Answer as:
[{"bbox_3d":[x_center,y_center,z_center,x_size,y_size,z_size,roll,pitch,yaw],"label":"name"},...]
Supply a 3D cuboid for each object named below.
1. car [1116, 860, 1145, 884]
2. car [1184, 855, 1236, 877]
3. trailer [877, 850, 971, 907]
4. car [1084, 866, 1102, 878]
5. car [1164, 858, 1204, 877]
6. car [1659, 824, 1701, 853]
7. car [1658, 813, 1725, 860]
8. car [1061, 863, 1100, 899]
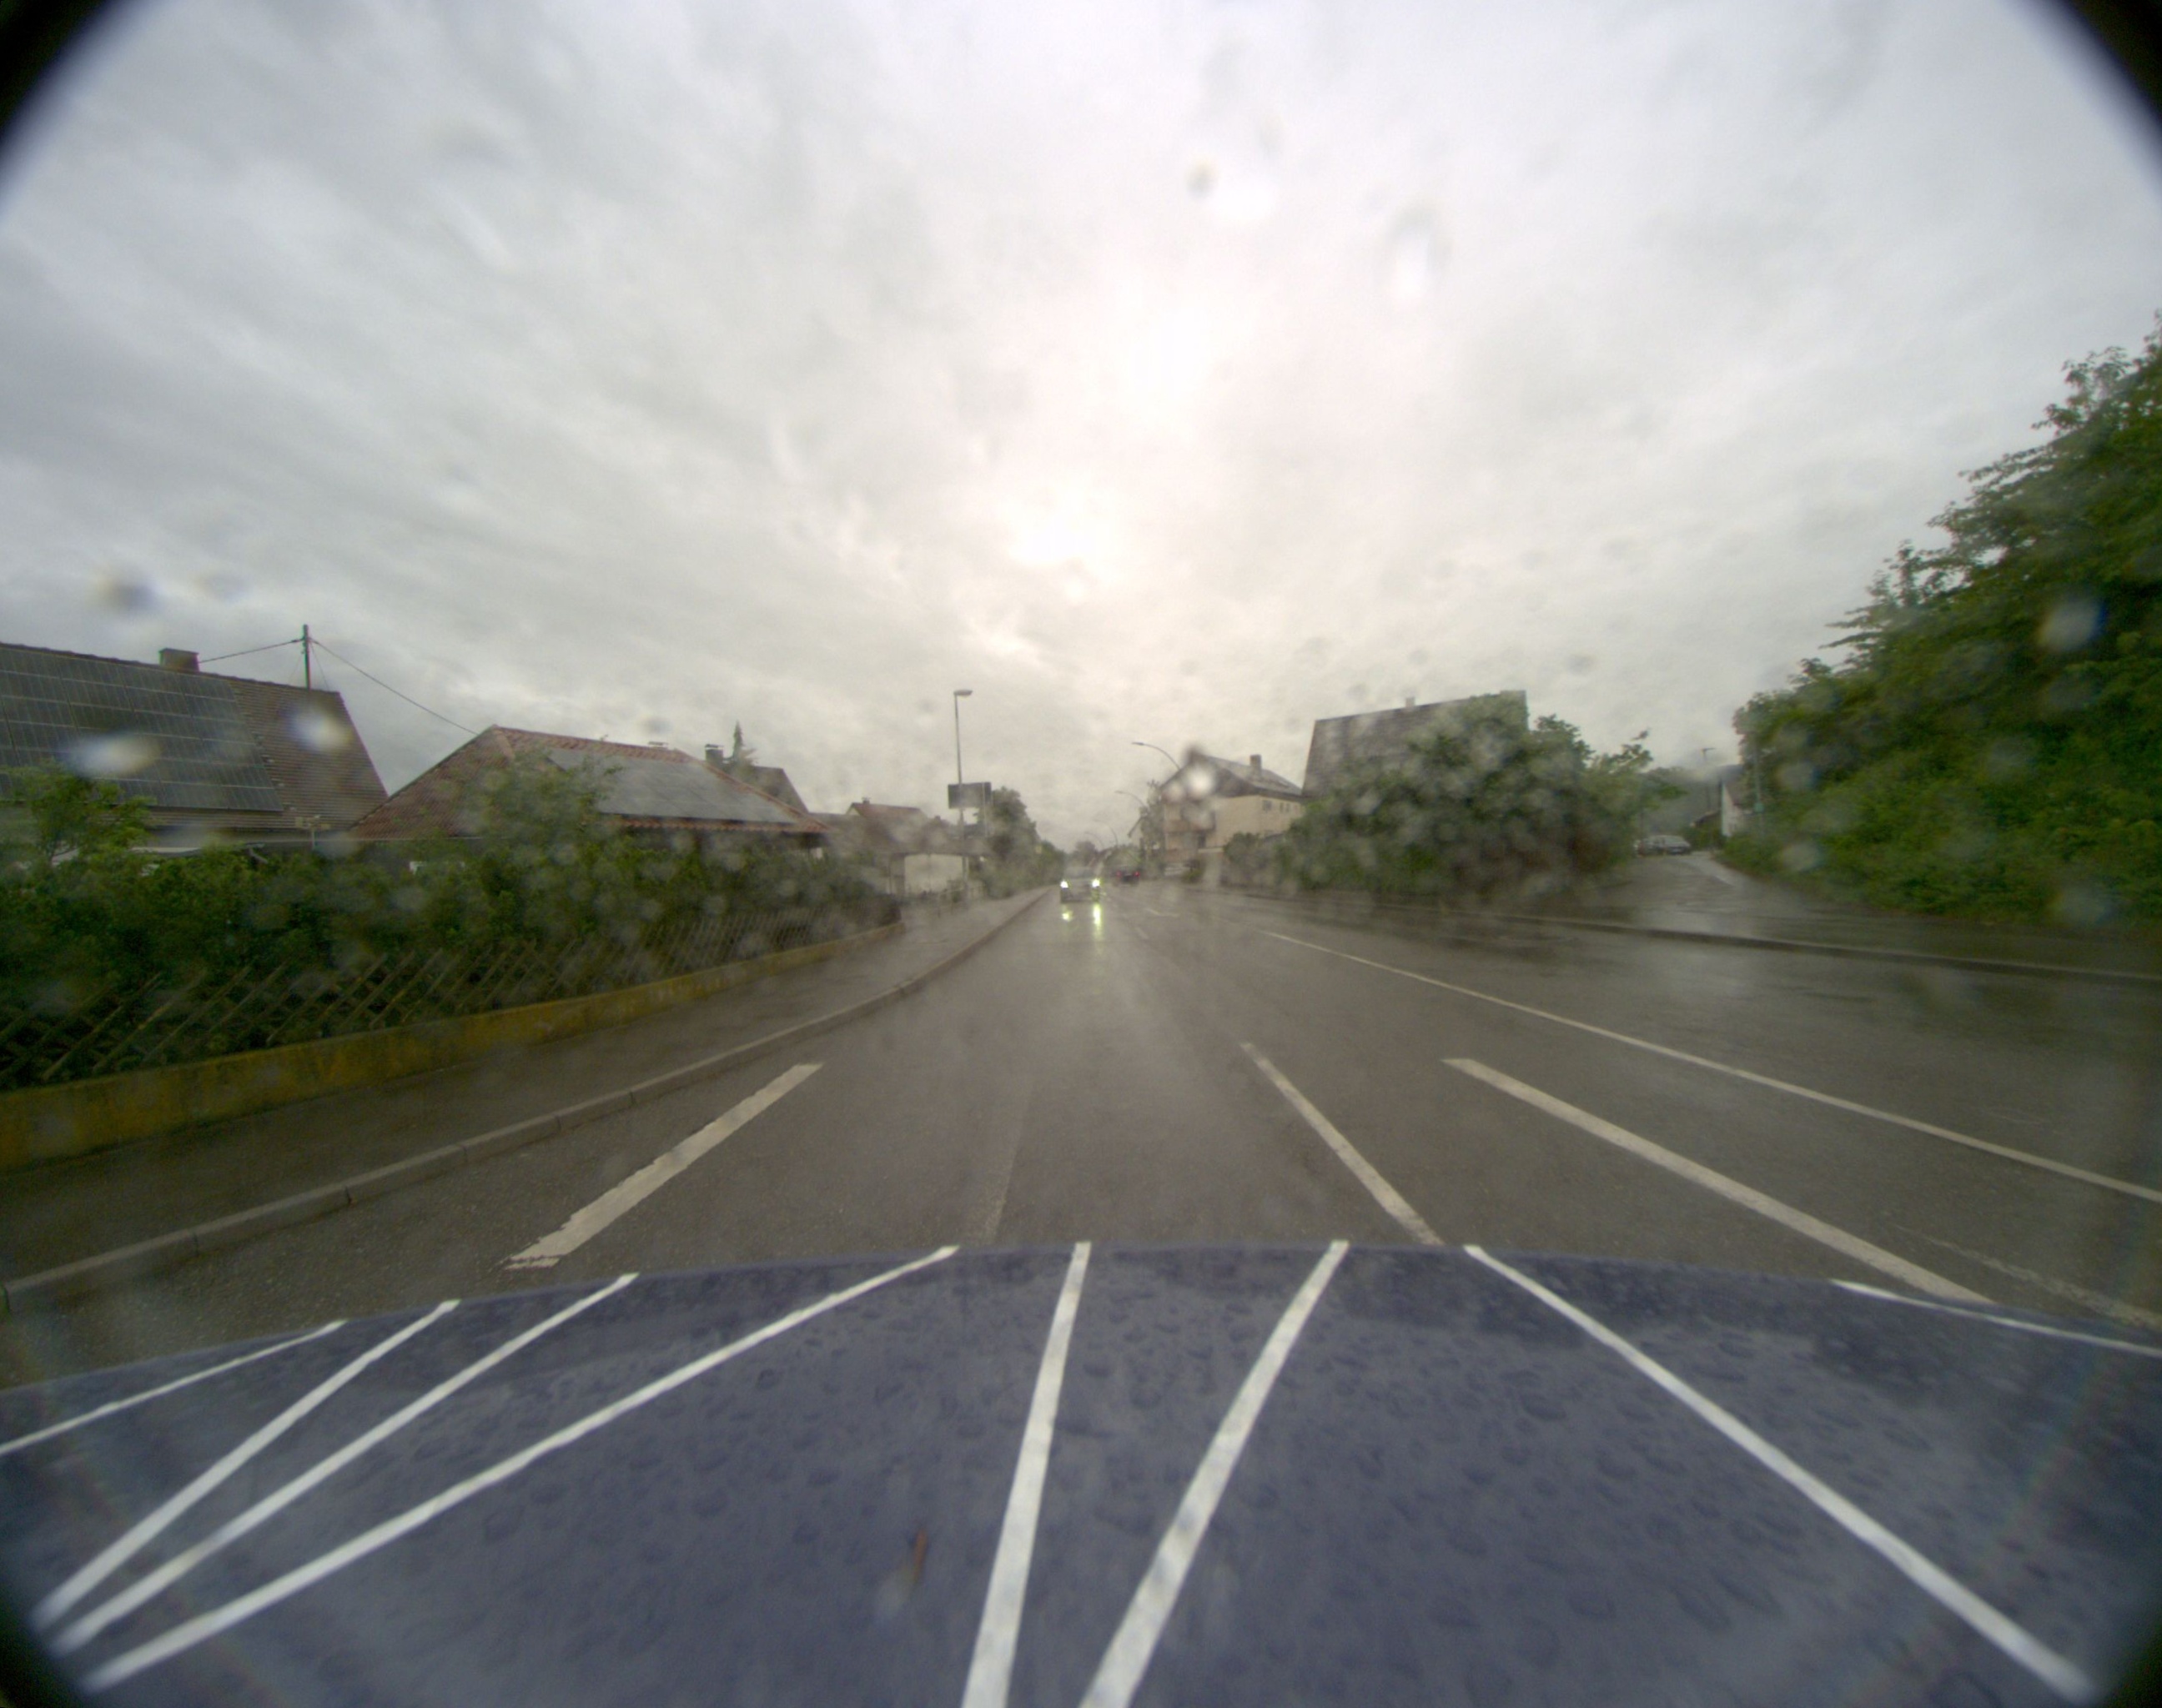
[{"bbox_3d":[3.865,1.382,59.988,1.998,1.658,4.416,-3,0,0],"label":"car"},{"bbox_3d":[10.332,0.972,60.927,3.661,1.510,1.758,-3,0,35],"label":"car"},{"bbox_3d":[-7.510,1.107,36.767,1.645,2.502,4.712,-4,-1,29],"label":"trailer"},{"bbox_3d":[1.483,2.337,97.526,1.999,1.396,4.623,-2,0,-2],"label":"car"},{"bbox_3d":[9.063,1.172,66.530,1.864,1.510,4.007,-3,0,32],"label":"car"},{"bbox_3d":[41.198,-1.086,52.198,1.995,1.848,4.008,-3,0,41],"label":"car"},{"bbox_3d":[22.998,-0.664,28.589,1.706,1.579,3.669,-2,0,42],"label":"car"},{"bbox_3d":[-0.029,1.242,35.931,1.687,1.486,3.939,-3,0,0],"label":"car"}]
